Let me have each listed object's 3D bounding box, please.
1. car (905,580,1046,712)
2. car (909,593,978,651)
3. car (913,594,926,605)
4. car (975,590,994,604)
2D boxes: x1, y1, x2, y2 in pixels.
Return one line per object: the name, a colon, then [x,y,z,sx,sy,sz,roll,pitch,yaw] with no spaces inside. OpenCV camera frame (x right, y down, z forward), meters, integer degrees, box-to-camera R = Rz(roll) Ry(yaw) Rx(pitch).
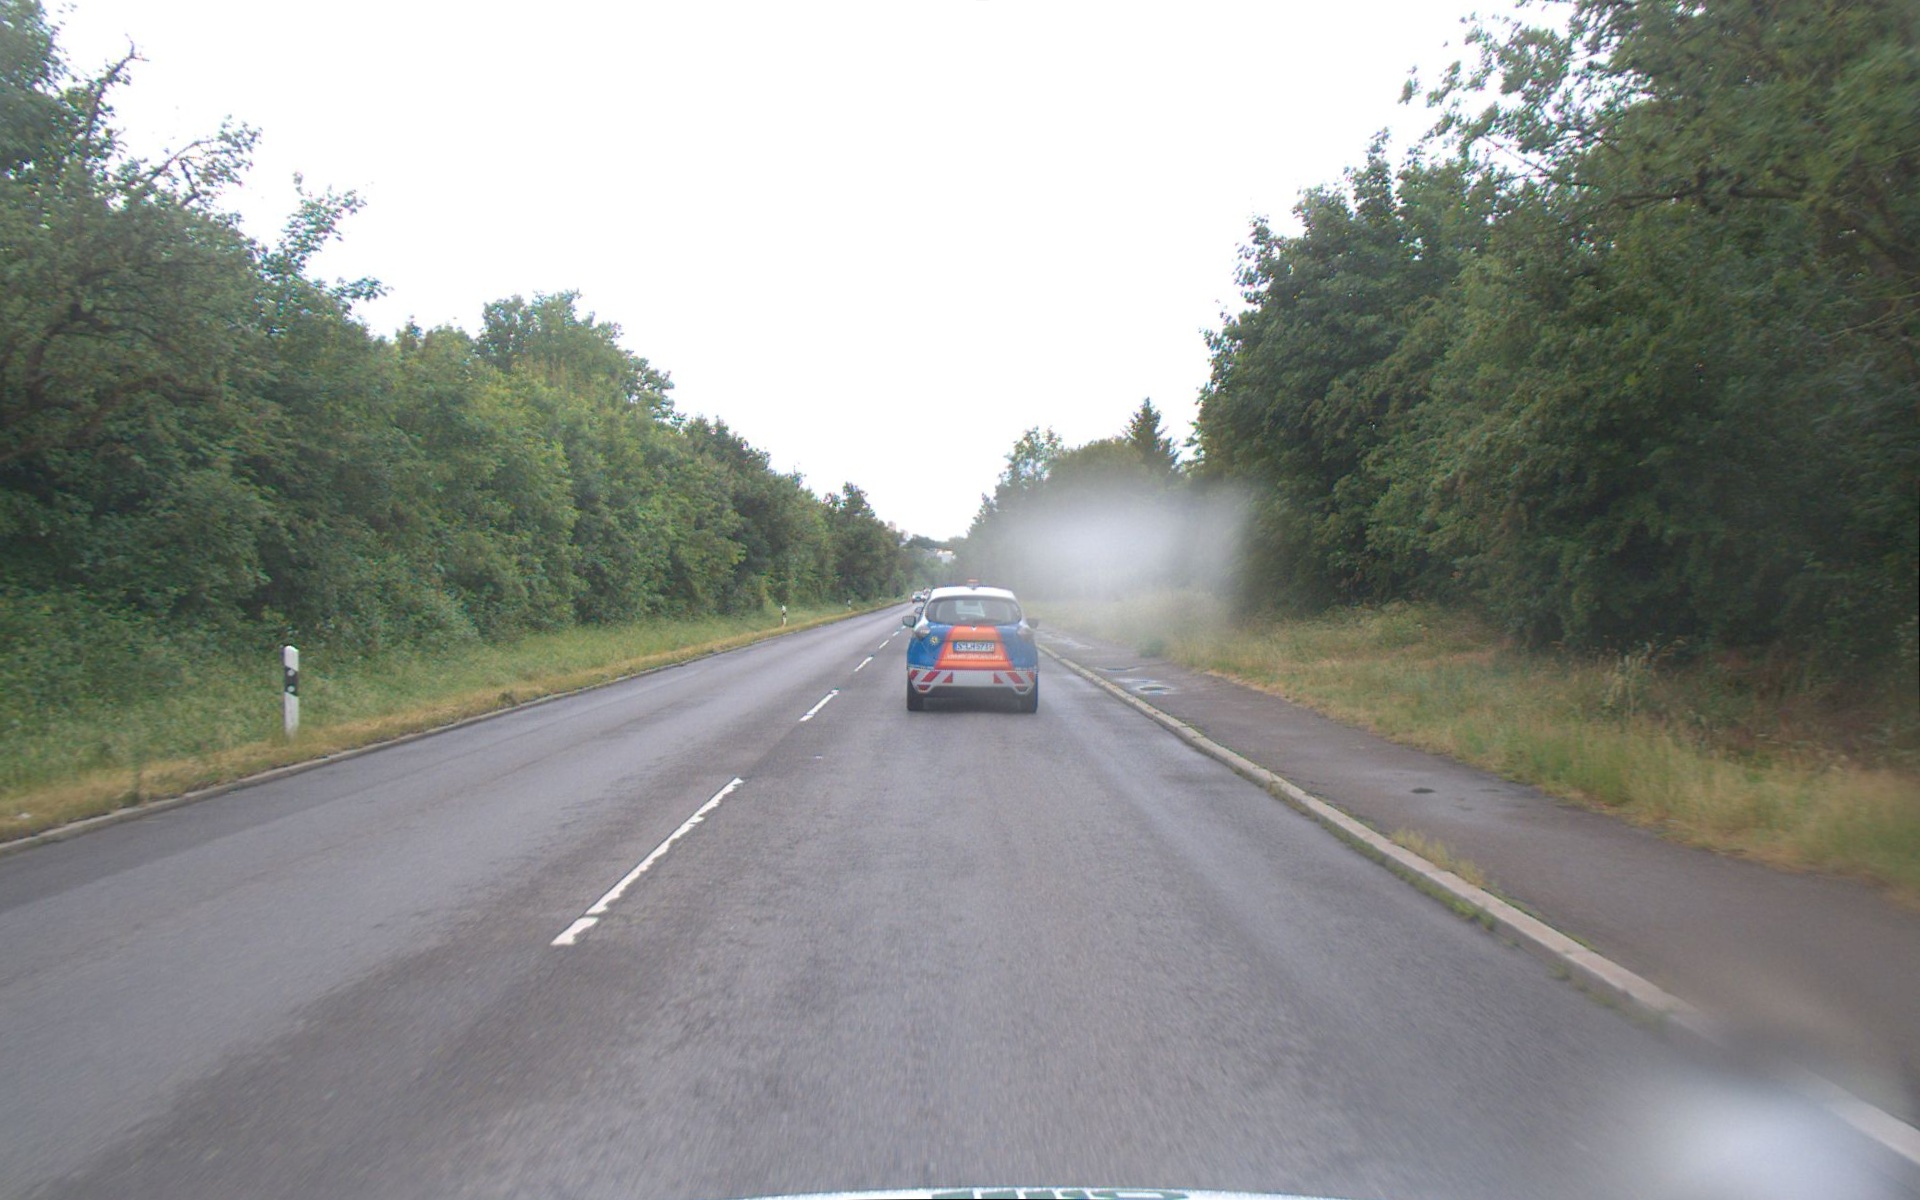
car: [0.171,0.544,22.207,1.716,1.582,3.792,1,1,-1]
car: [-0.375,0.498,39.871,1.566,1.309,3.476,-1,0,0]
car: [-5.845,-0.067,237.916,1.866,1.584,4.515,-1,0,-1]
car: [2.592,-0.289,174.809,1.953,1.400,4.000,-1,0,0]
